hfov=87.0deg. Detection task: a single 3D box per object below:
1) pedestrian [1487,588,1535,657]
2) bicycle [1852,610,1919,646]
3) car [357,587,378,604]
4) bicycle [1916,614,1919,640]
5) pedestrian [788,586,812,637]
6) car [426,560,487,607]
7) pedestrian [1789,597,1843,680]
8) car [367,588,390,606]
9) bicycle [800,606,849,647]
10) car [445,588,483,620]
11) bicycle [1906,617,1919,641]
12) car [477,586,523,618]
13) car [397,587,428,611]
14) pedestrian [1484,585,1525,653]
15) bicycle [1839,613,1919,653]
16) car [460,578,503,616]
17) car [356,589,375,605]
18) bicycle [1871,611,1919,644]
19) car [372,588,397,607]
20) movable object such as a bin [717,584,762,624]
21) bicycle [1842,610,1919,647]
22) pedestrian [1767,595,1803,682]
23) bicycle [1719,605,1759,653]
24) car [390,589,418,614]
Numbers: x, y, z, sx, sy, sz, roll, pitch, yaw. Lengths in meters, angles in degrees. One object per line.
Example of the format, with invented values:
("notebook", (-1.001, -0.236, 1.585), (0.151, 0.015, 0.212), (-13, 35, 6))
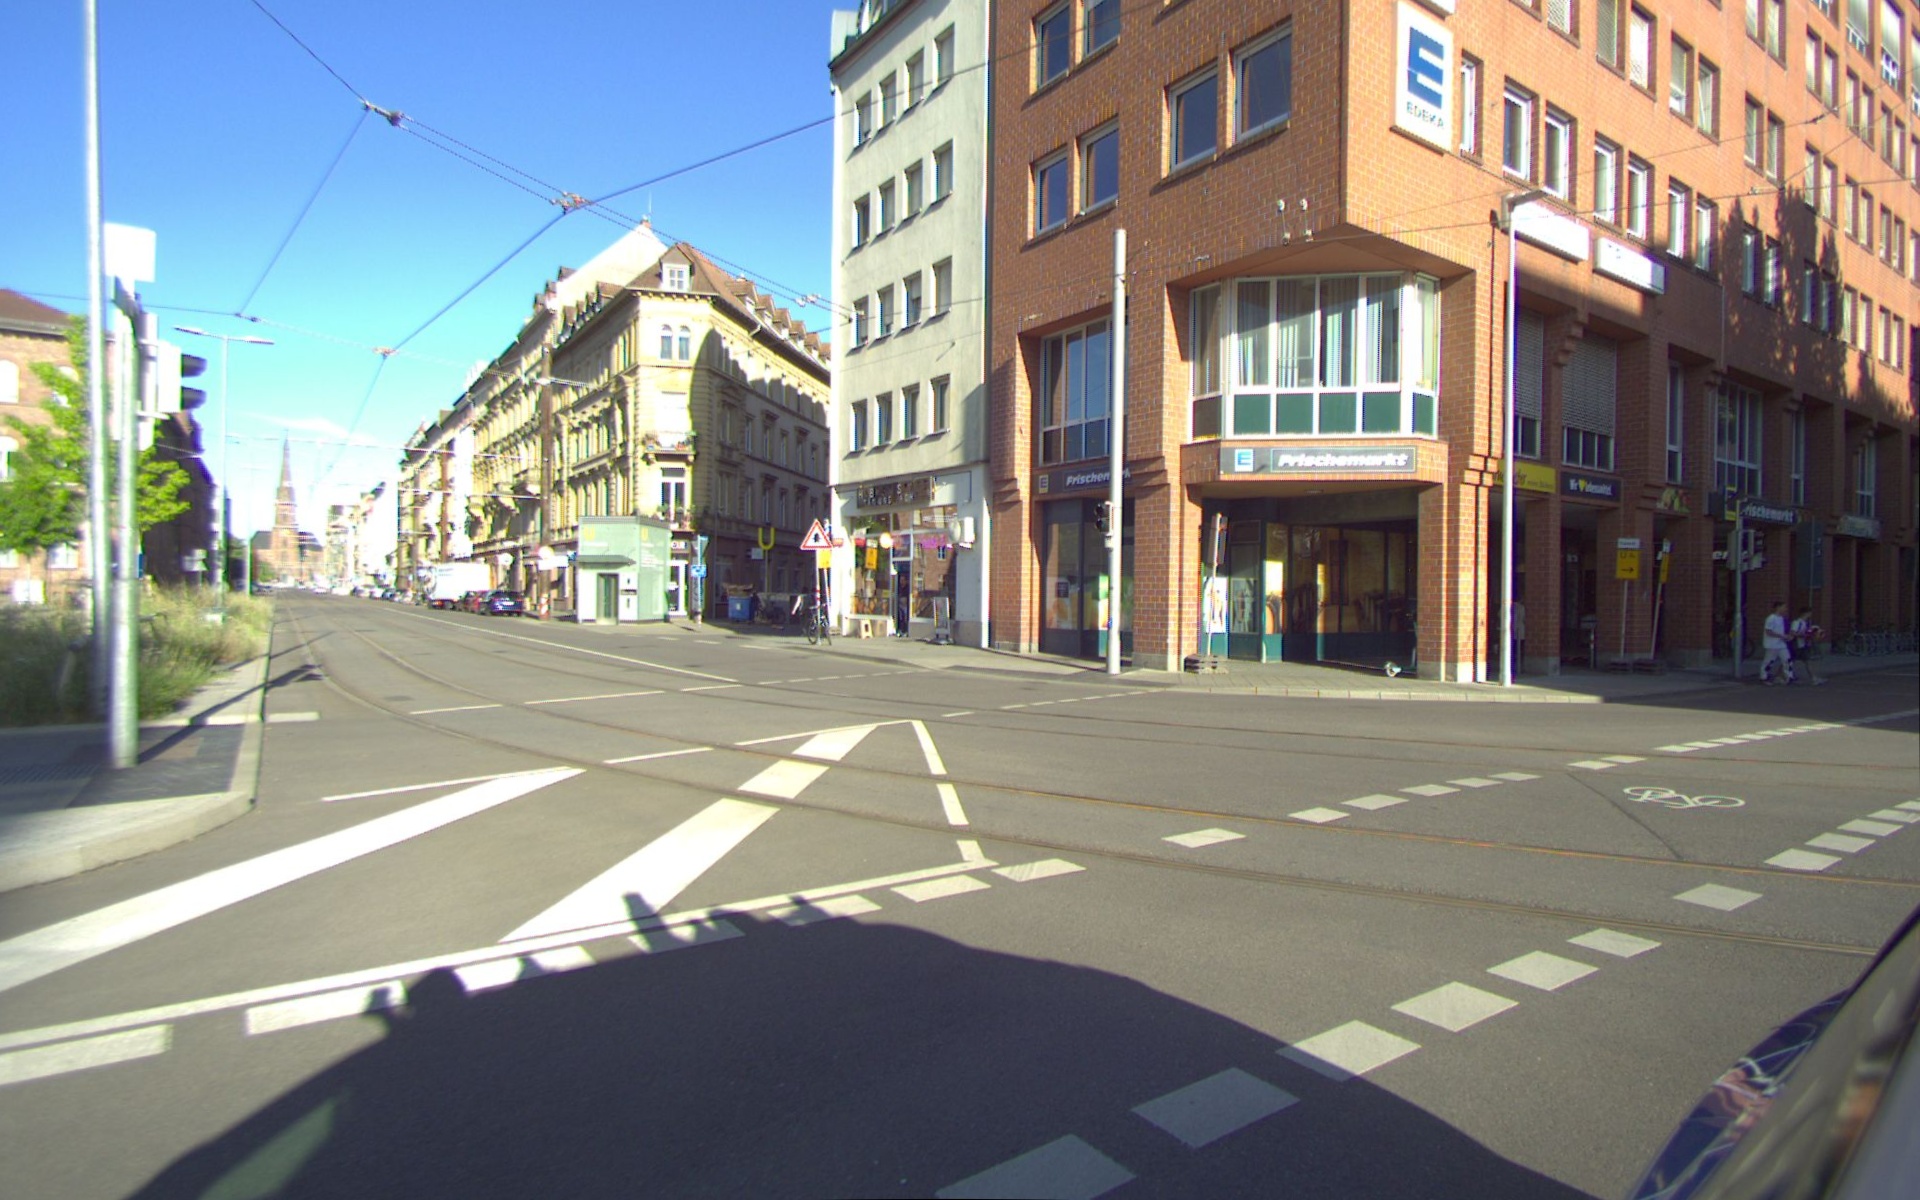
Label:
("pedestrian", (13.195, 0.538, 24.255), (0.834, 1.610, 0.751), (1, -1, 16))
("bicycle", (30.966, 0.917, 33.645), (0.539, 1.133, 1.898), (2, 0, -34))
("car", (-79.581, -0.586, 135.900), (2.191, 2.040, 4.345), (1, -2, -32))
("bicycle", (36.462, 1.035, 37.336), (0.544, 0.966, 1.618), (2, 1, -32))
("pedestrian", (-5.256, 0.374, 33.244), (0.679, 1.658, 0.962), (1, 0, -4))
("car", (-34.531, -1.140, 69.351), (2.241, 3.060, 5.352), (1, 0, -44))
("pedestrian", (18.340, 0.814, 21.696), (0.619, 1.747, 0.634), (1, -1, 5))
("car", (-69.304, -0.335, 120.564), (2.191, 2.040, 4.345), (1, -2, -32))
("bicycle", (-3.489, 0.653, 25.936), (0.451, 1.003, 1.866), (0, 0, -34))
("car", (-31.672, 0.226, 64.557), (1.694, 1.997, 3.930), (1, 0, -33))
("bicycle", (34.375, 1.063, 35.739), (0.416, 0.852, 1.339), (2, 1, -32))
("car", (-25.223, 0.091, 55.427), (1.694, 1.631, 3.930), (1, 0, -33))
("car", (-49.301, -0.084, 91.159), (2.191, 2.040, 4.345), (1, -2, -32))
("pedestrian", (13.796, 0.489, 25.638), (0.782, 1.683, 0.602), (2, -2, -35))
("bicycle", (27.708, 0.979, 30.419), (0.465, 1.133, 1.898), (2, -1, -34))
("car", (-28.766, -0.170, 60.834), (1.777, 2.209, 3.930), (1, 0, -33))
("car", (-82.377, -0.458, 140.176), (2.191, 2.040, 4.345), (1, -2, -32))
("bicycle", (33.150, 0.977, 35.297), (0.561, 1.070, 1.941), (2, 1, -31))
("car", (-64.141, -0.253, 112.802), (2.191, 2.040, 4.345), (1, -2, -32))
("movable object such as a bin", (-10.029, 0.203, 46.122), (1.621, 1.806, 1.399), (0, -2, 7))
("bicycle", (30.241, 0.930, 33.210), (0.465, 1.133, 1.898), (2, -1, -35))
("pedestrian", (17.480, 0.805, 21.443), (0.530, 1.816, 0.477), (2, -2, -35))
("bicycle", (21.428, 0.802, 27.834), (1.677, 1.272, 0.341), (2, -1, -34))
("car", (-54.941, 0.179, 100.005), (2.191, 2.414, 4.345), (1, -2, -32))
